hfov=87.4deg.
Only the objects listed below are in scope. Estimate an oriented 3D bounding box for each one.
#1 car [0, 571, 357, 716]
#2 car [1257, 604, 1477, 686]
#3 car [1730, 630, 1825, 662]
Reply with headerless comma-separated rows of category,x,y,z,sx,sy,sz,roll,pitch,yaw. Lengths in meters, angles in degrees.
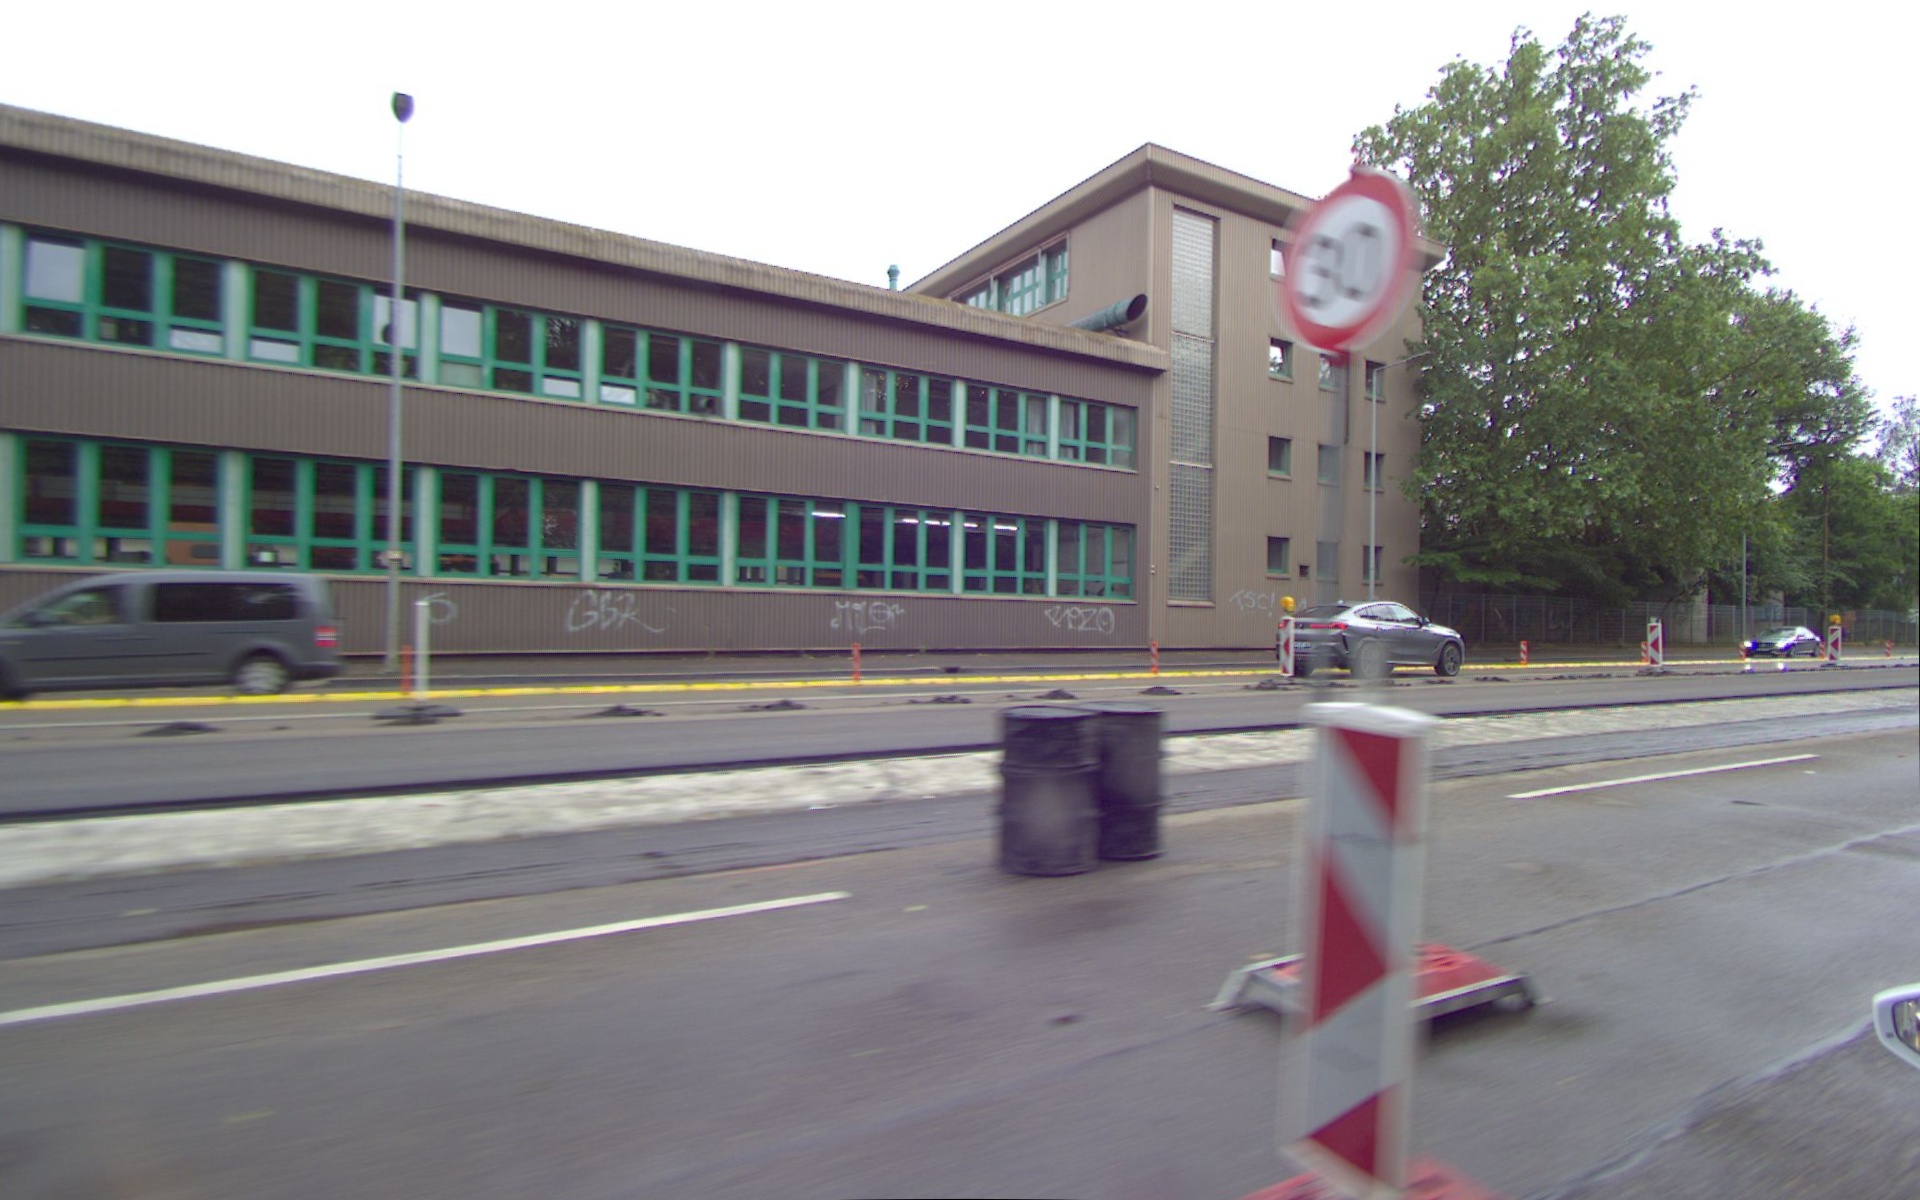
car,-11.336,0.554,14.076,4.900,1.804,1.982,1,0,-33
car,9.235,0.966,22.669,5.000,1.635,2.065,1,0,-32
car,38.302,2.140,47.041,4.736,1.366,1.983,1,0,-31
